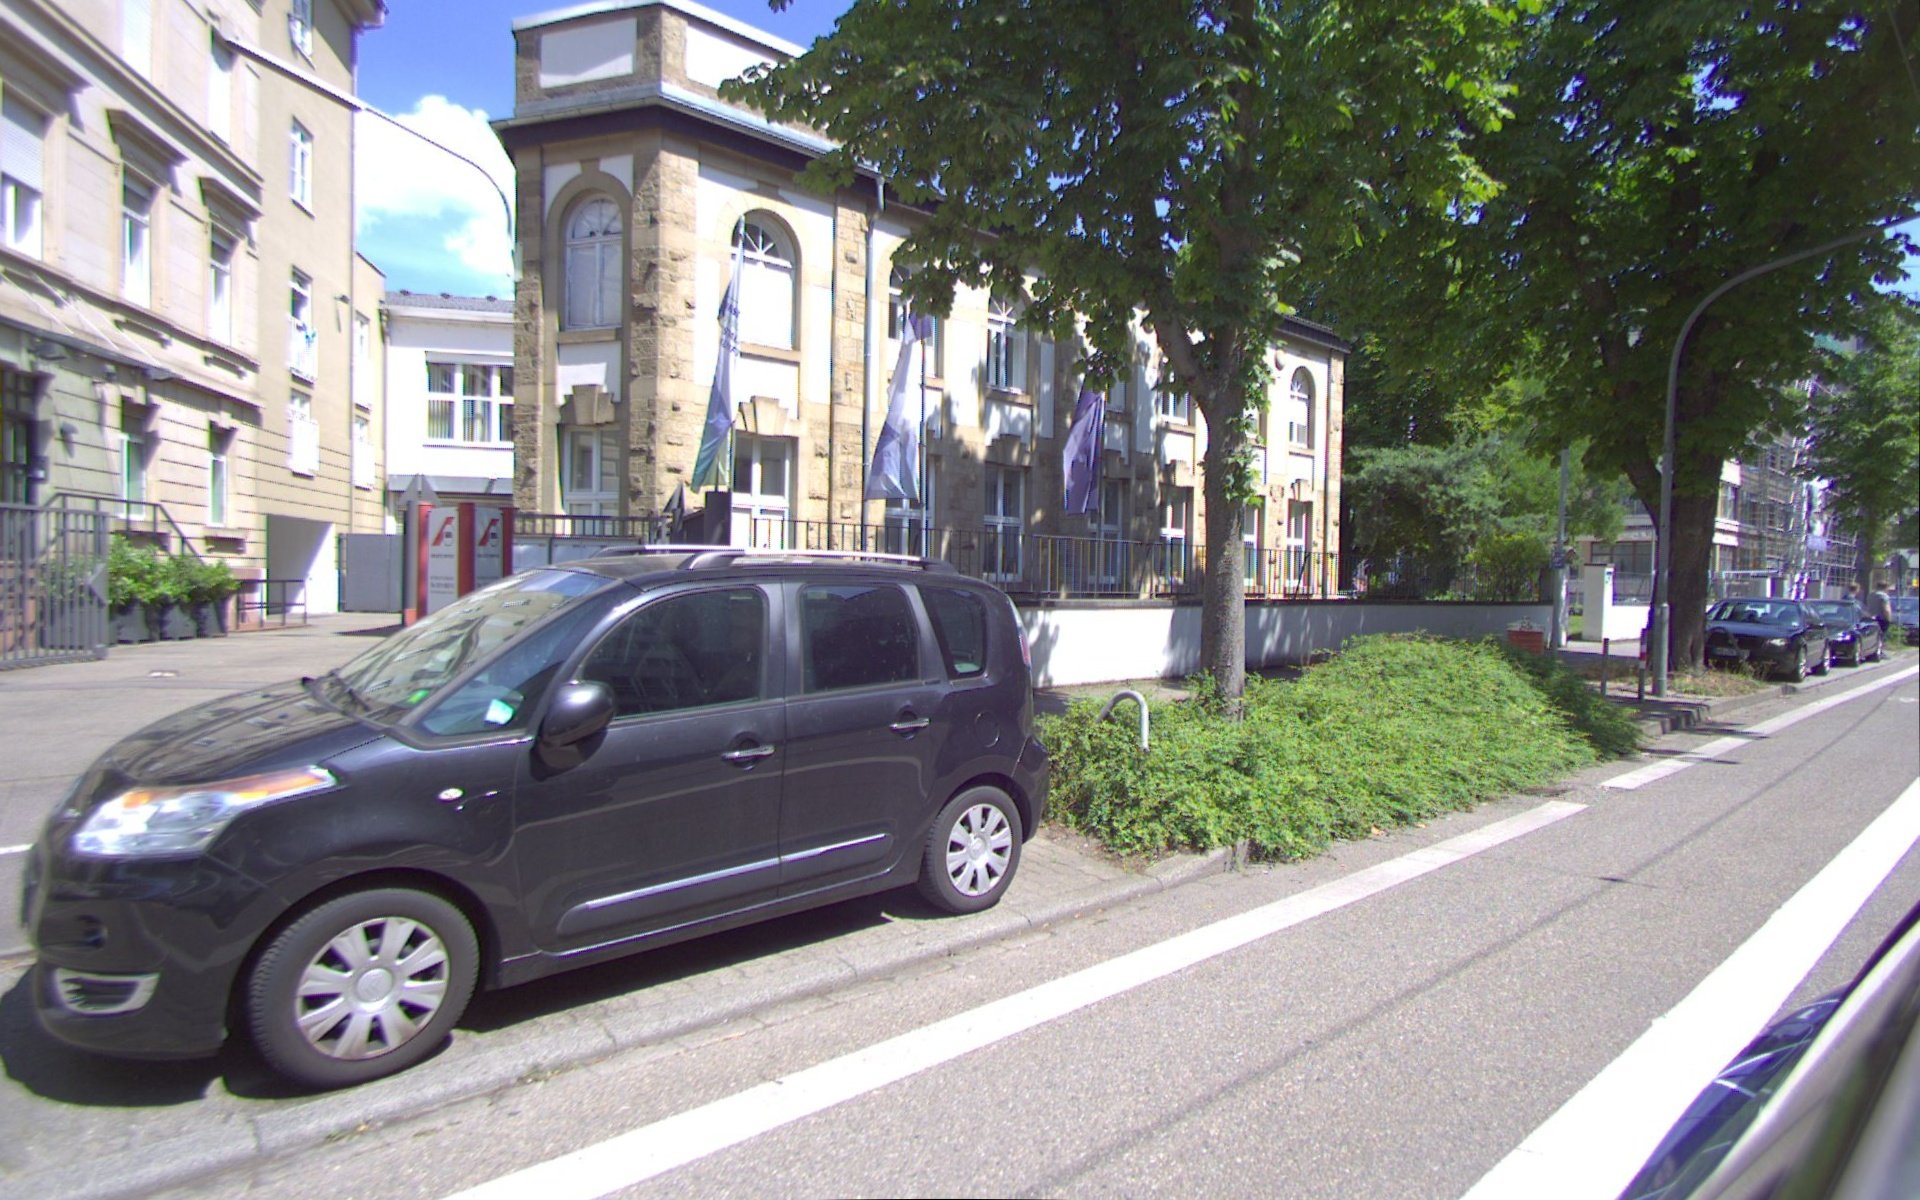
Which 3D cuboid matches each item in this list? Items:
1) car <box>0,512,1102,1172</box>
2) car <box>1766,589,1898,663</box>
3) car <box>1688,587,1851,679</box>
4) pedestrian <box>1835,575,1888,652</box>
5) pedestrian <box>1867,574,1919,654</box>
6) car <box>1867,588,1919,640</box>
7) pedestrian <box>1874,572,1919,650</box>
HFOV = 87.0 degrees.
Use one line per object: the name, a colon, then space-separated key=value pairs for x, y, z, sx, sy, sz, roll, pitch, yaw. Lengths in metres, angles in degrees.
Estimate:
car: x=-1.394 y=0.543 z=4.447 sx=4.012 sy=1.635 sz=1.734 roll=0 pitch=3 yaw=-41
car: x=19.565 y=0.531 z=22.649 sx=3.930 sy=1.420 sz=1.626 roll=0 pitch=4 yaw=-41
car: x=14.919 y=0.534 z=18.592 sx=3.756 sy=1.420 sz=1.626 roll=0 pitch=4 yaw=-41
pedestrian: x=22.194 y=0.325 z=24.916 sx=0.724 sy=1.873 sz=0.648 roll=1 pitch=1 yaw=-14
pedestrian: x=22.231 y=0.314 z=24.115 sx=0.724 sy=1.873 sz=0.648 roll=1 pitch=1 yaw=-23
car: x=28.968 y=0.408 z=30.683 sx=3.930 sy=1.420 sz=1.626 roll=0 pitch=4 yaw=-41
pedestrian: x=23.271 y=0.263 z=25.049 sx=0.732 sy=1.873 sz=0.641 roll=1 pitch=1 yaw=24
